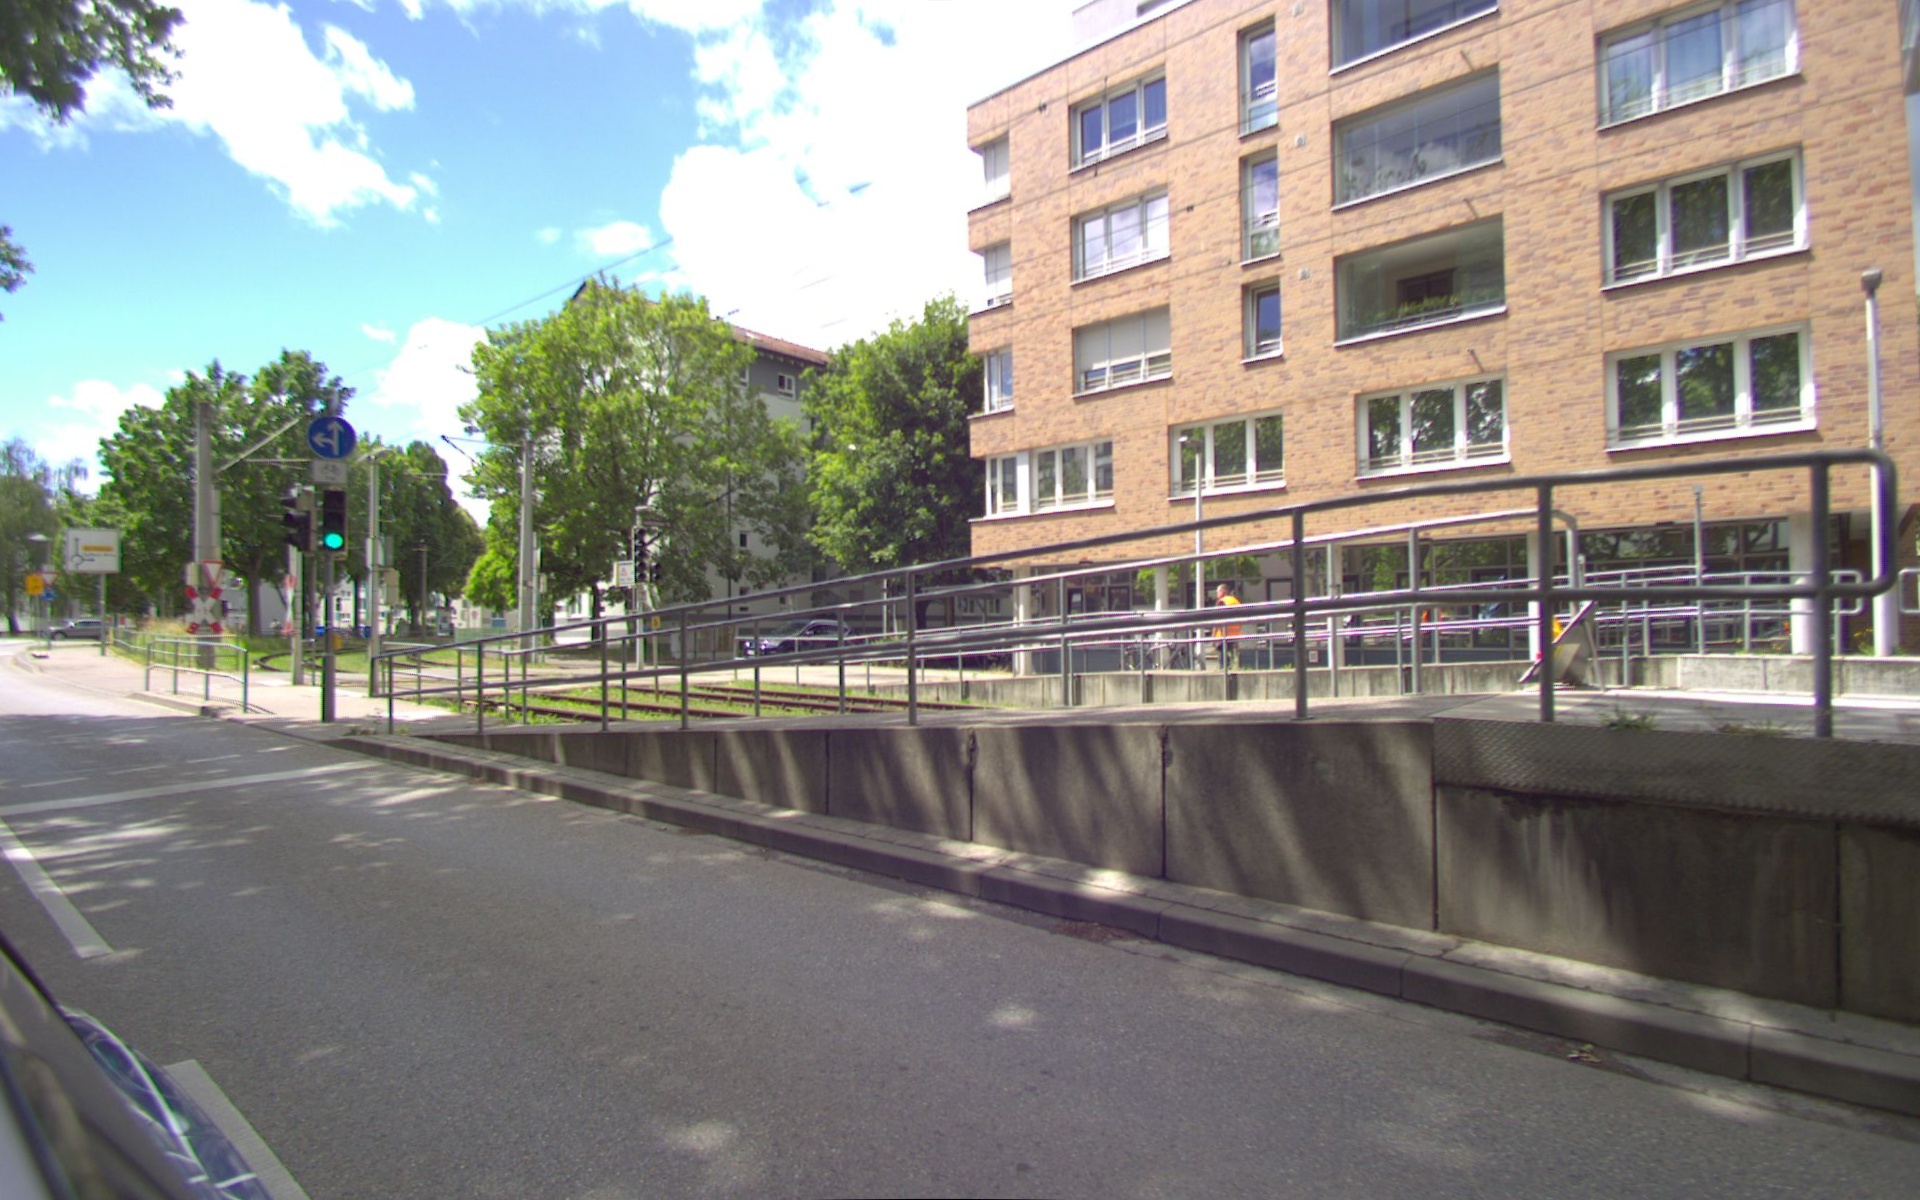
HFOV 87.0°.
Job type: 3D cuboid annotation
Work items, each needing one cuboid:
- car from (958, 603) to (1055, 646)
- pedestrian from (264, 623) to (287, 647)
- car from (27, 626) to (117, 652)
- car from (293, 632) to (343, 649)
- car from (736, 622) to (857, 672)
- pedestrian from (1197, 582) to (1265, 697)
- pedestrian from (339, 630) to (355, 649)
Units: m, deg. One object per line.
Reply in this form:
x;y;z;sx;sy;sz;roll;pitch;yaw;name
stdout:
1.655;0.846;34.934;1.593;1.410;3.496;-2;-2;39;car
-49.393;2.510;73.023;1.013;1.677;0.871;-1;-2;16;pedestrian
-63.323;2.742;72.221;1.999;1.810;4.555;-2;-2;41;car
-59.009;3.707;93.056;4.092;1.535;1.797;-1;-2;20;car
-5.253;1.544;32.787;1.588;1.488;3.631;-2;-4;43;car
4.480;0.645;16.729;0.828;1.839;0.735;-2;-3;40;pedestrian
-55.485;3.553;91.578;0.874;1.677;1.010;-1;-2;35;pedestrian
